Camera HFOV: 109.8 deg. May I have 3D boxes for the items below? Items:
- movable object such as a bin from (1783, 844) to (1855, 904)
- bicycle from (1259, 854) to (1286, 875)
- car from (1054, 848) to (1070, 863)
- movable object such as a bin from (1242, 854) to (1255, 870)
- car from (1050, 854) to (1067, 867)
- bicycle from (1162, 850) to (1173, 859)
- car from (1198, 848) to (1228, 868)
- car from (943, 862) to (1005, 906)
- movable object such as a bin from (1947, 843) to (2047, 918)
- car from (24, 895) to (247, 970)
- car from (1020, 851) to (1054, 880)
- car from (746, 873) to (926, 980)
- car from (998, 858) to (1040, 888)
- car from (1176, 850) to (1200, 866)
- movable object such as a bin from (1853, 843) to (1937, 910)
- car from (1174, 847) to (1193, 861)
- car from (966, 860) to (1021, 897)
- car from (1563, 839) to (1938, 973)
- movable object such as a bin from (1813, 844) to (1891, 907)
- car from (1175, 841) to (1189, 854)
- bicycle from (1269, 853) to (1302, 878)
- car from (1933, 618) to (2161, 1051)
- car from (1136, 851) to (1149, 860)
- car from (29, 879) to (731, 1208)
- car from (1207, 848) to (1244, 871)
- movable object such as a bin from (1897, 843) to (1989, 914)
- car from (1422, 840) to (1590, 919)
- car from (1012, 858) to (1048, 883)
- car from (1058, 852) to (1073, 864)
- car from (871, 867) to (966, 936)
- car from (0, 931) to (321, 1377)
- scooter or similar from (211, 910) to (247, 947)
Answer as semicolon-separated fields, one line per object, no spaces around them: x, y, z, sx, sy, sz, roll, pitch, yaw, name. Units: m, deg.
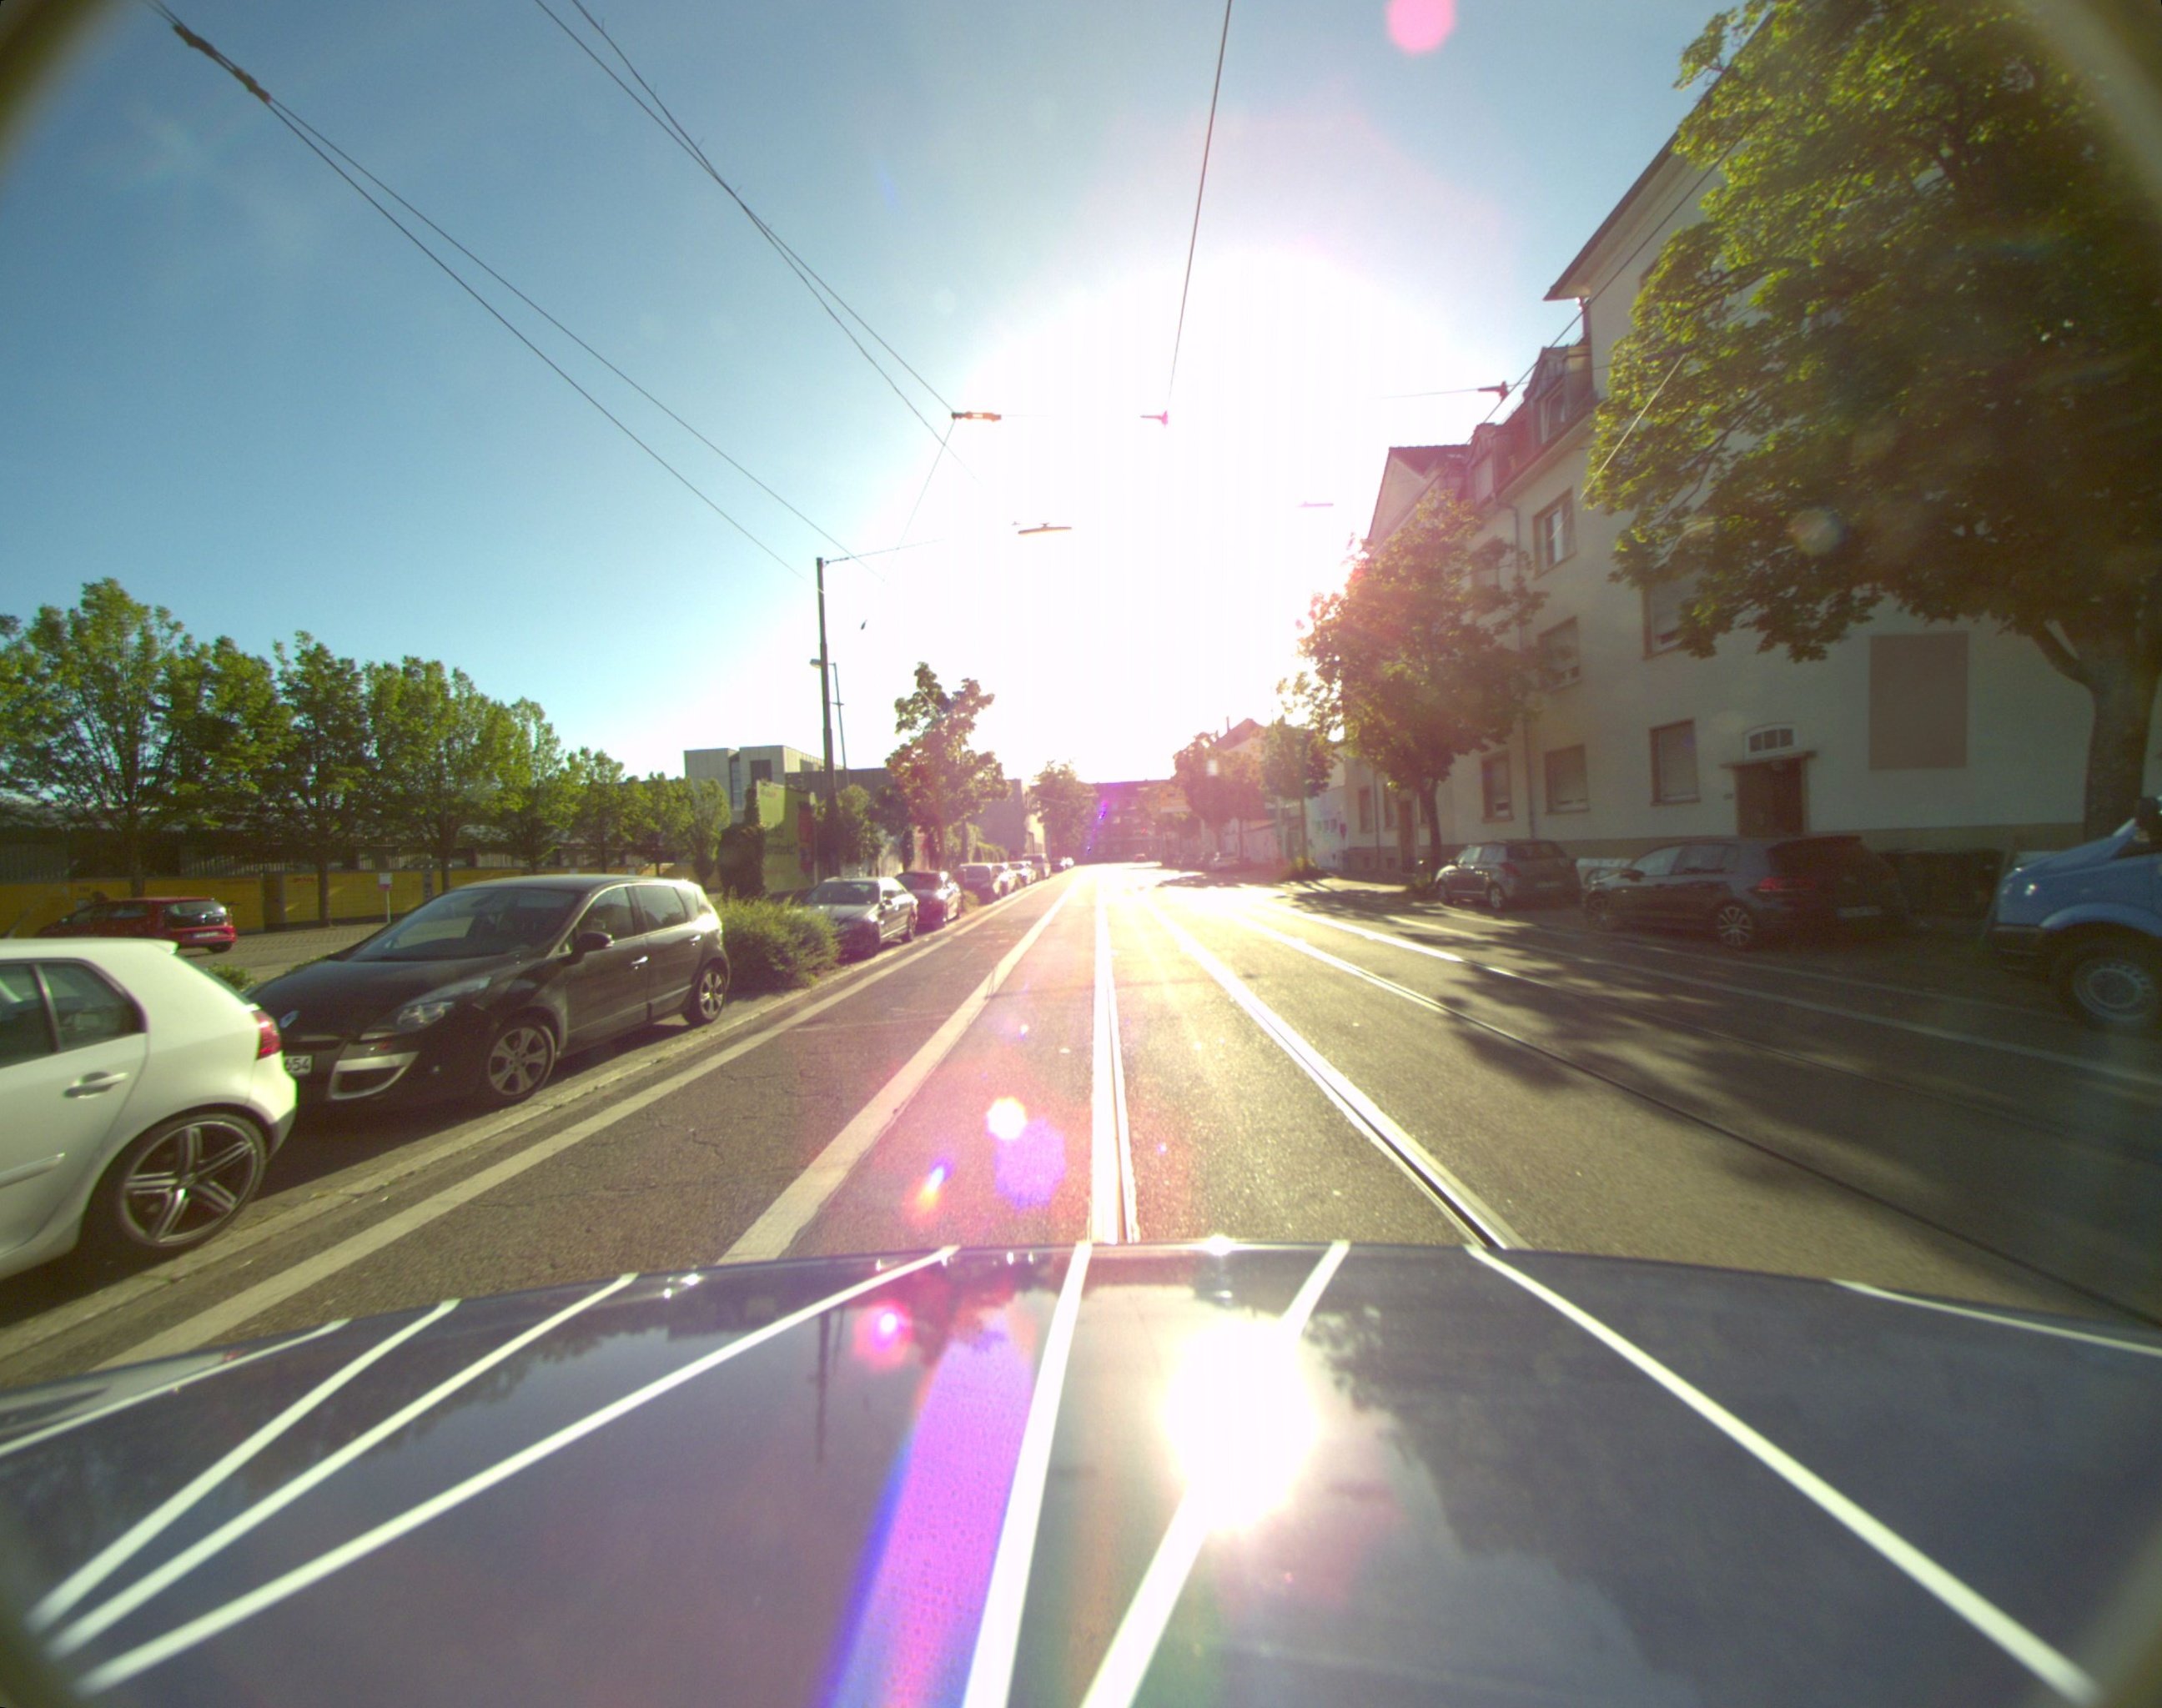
11.965;0.313;12.331;0.597;0.929;0.569;-3;1;-1;movable object such as a bin
10.381;0.565;41.130;0.667;1.034;1.789;-4;1;39;bicycle
-2.362;0.151;94.562;1.746;1.702;4.277;-4;1;-1;car
10.848;0.526;49.293;0.583;0.954;0.702;-9;1;2;movable object such as a bin
-2.654;0.723;88.723;1.706;1.473;4.658;-1;1;1;car
11.876;0.094;104.120;1.344;1.163;0.409;-4;1;2;bicycle
11.135;0.314;64.295;1.777;1.477;4.305;-4;1;2;car
-4.076;1.105;29.523;1.829;1.484;3.814;-1;1;0;car
11.953;0.338;9.933;0.597;0.929;0.569;-3;1;-1;movable object such as a bin
-22.995;1.887;18.570;3.319;1.488;1.740;-3;1;4;car
-3.307;0.802;58.285;1.858;1.980;5.242;-3;1;3;car
-4.448;1.241;14.598;1.732;1.455;4.498;-4;1;2;car
-3.569;1.080;44.472;1.828;1.476;4.601;-4;1;2;car
11.130;0.397;79.373;1.878;1.420;4.293;-4;1;2;car
11.930;0.328;11.144;0.597;0.929;0.569;-3;1;-1;movable object such as a bin
11.457;-0.026;85.156;1.576;1.496;4.000;-4;1;2;car
-4.062;1.112;36.112;1.828;1.444;4.642;-3;1;2;car
8.985;0.568;10.790;1.655;1.416;4.189;-4;1;2;car
11.903;0.324;11.738;0.597;0.929;0.569;-3;1;-1;movable object such as a bin
12.651;-0.792;95.567;1.358;1.493;2.548;-4;-2;2;car
10.067;0.559;37.381;1.990;1.034;0.531;-5;1;-44;bicycle
7.919;-0.159;3.164;2.022;2.809;6.032;-4;1;3;car
10.453;0.254;128.485;1.770;1.455;4.746;-3;1;1;car
-4.862;1.125;6.360;1.732;1.595;4.342;-1;1;1;car
10.673;0.387;56.350;1.869;1.482;4.661;-4;1;1;car
11.933;0.333;10.535;0.597;0.929;0.569;-3;1;-1;movable object such as a bin
9.545;0.492;17.468;1.655;1.482;4.000;-4;1;2;car
-3.496;1.083;52.582;1.877;1.464;4.075;-4;1;4;car
-2.061;0.484;102.076;1.716;1.481;4.624;-3;0;1;car
-4.313;1.200;20.815;1.732;1.455;4.339;-4;1;-2;car
-4.862;1.196;1.789;1.732;1.503;4.251;-2;1;2;car
-24.450;2.130;21.823;0.326;0.968;1.181;-5;1;-33;scooter or similar
